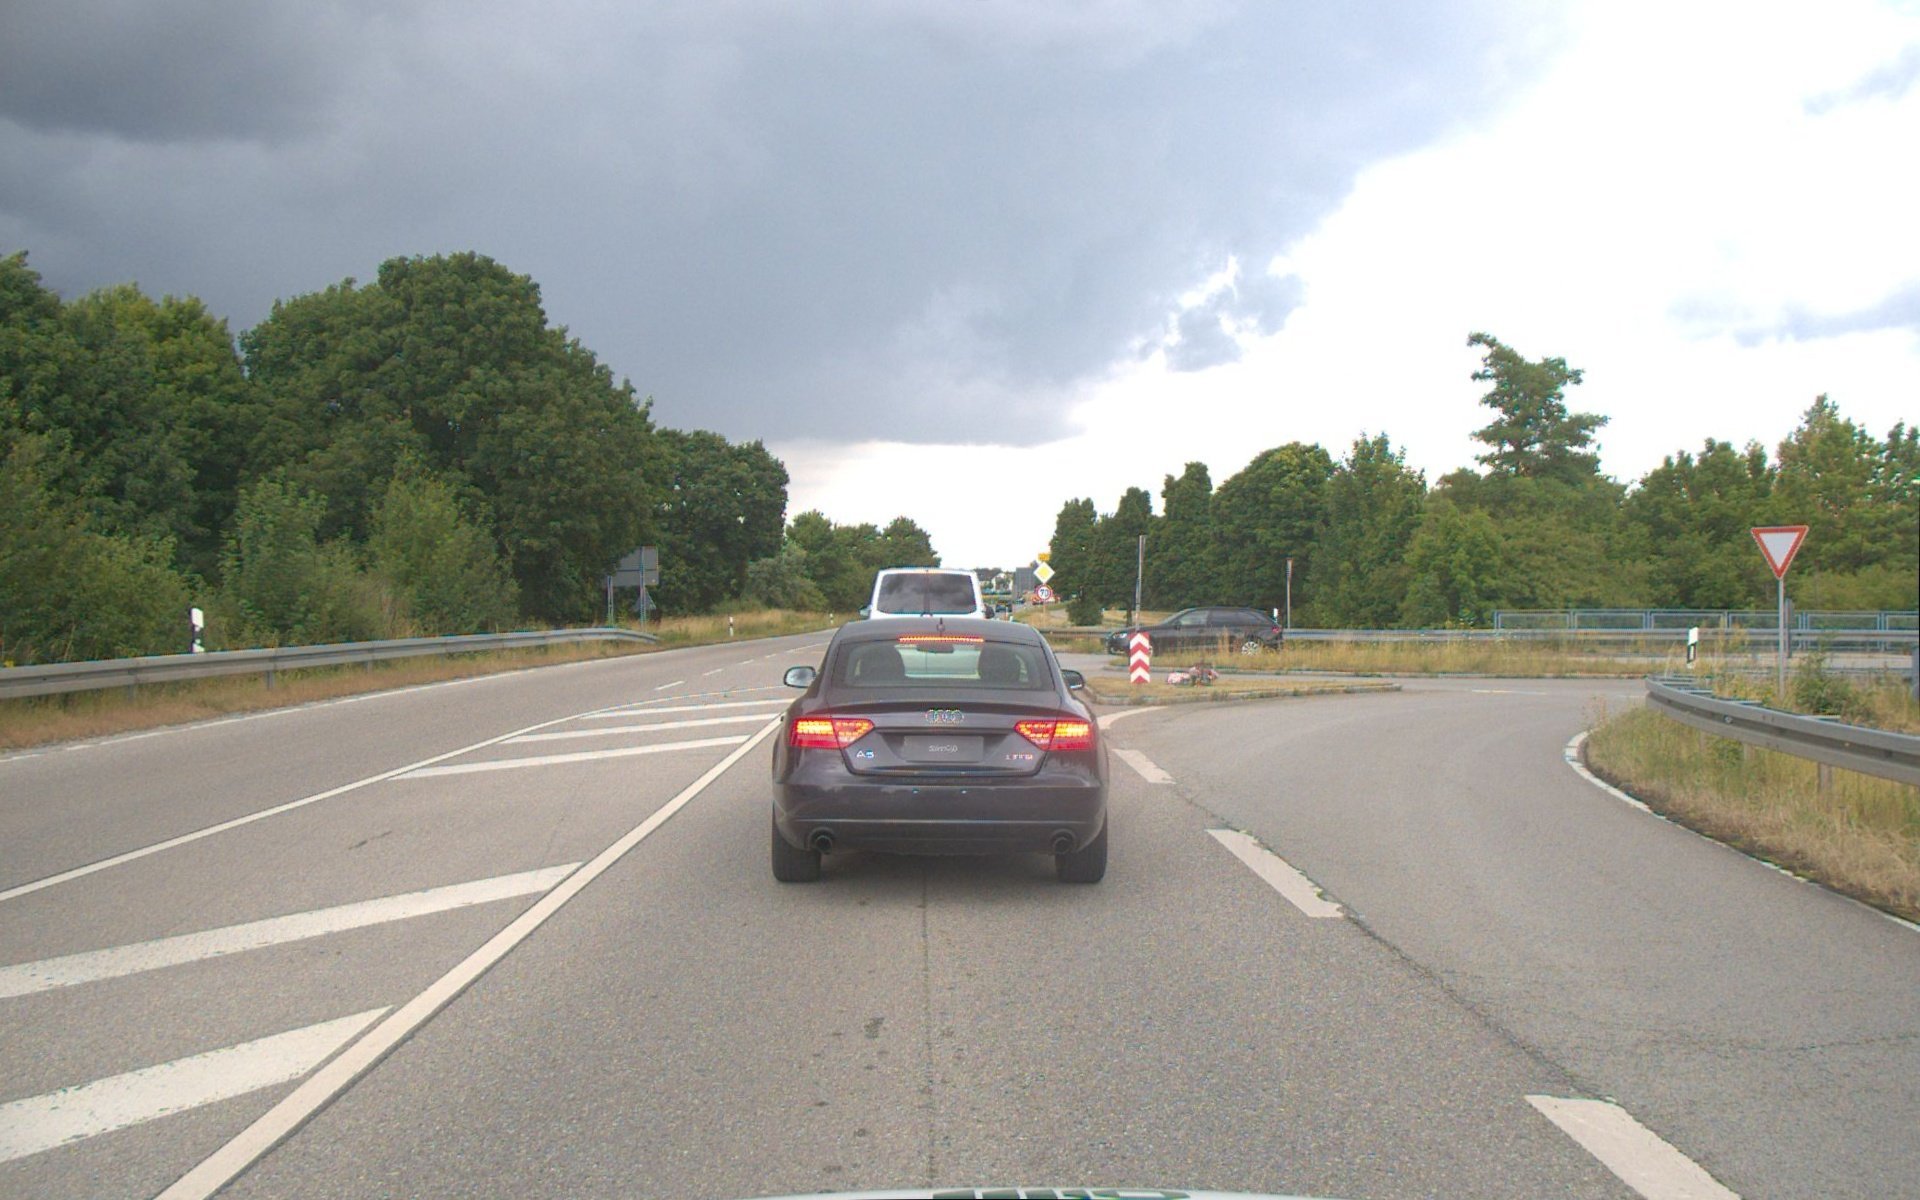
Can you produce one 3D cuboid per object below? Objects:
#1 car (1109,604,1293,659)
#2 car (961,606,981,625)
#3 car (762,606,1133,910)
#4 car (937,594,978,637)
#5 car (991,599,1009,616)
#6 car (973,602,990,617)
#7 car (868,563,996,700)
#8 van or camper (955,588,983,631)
[{"bbox_3d":[6.240,0.799,43.128,4.503,1.398,1.826,0,0,-2],"label":"car"},{"bbox_3d":[0.852,1.151,124.862,1.231,1.377,3.468,0,0,5],"label":"car"},{"bbox_3d":[-0.085,0.759,9.859,1.746,1.400,3.999,1,0,-1],"label":"car"},{"bbox_3d":[-0.111,0.775,84.711,1.952,2.125,4.001,0,0,2],"label":"car"},{"bbox_3d":[4.833,0.908,199.046,1.953,2.049,3.999,1,0,-1],"label":"car"},{"bbox_3d":[2.212,0.994,170.404,1.683,1.477,4.000,1,0,0],"label":"car"},{"bbox_3d":[-0.425,0.438,25.426,1.801,1.915,3.999,1,0,-1],"label":"car"},{"bbox_3d":[0.821,0.824,140.822,2.292,3.542,5.719,0,0,1],"label":"van or camper"}]
